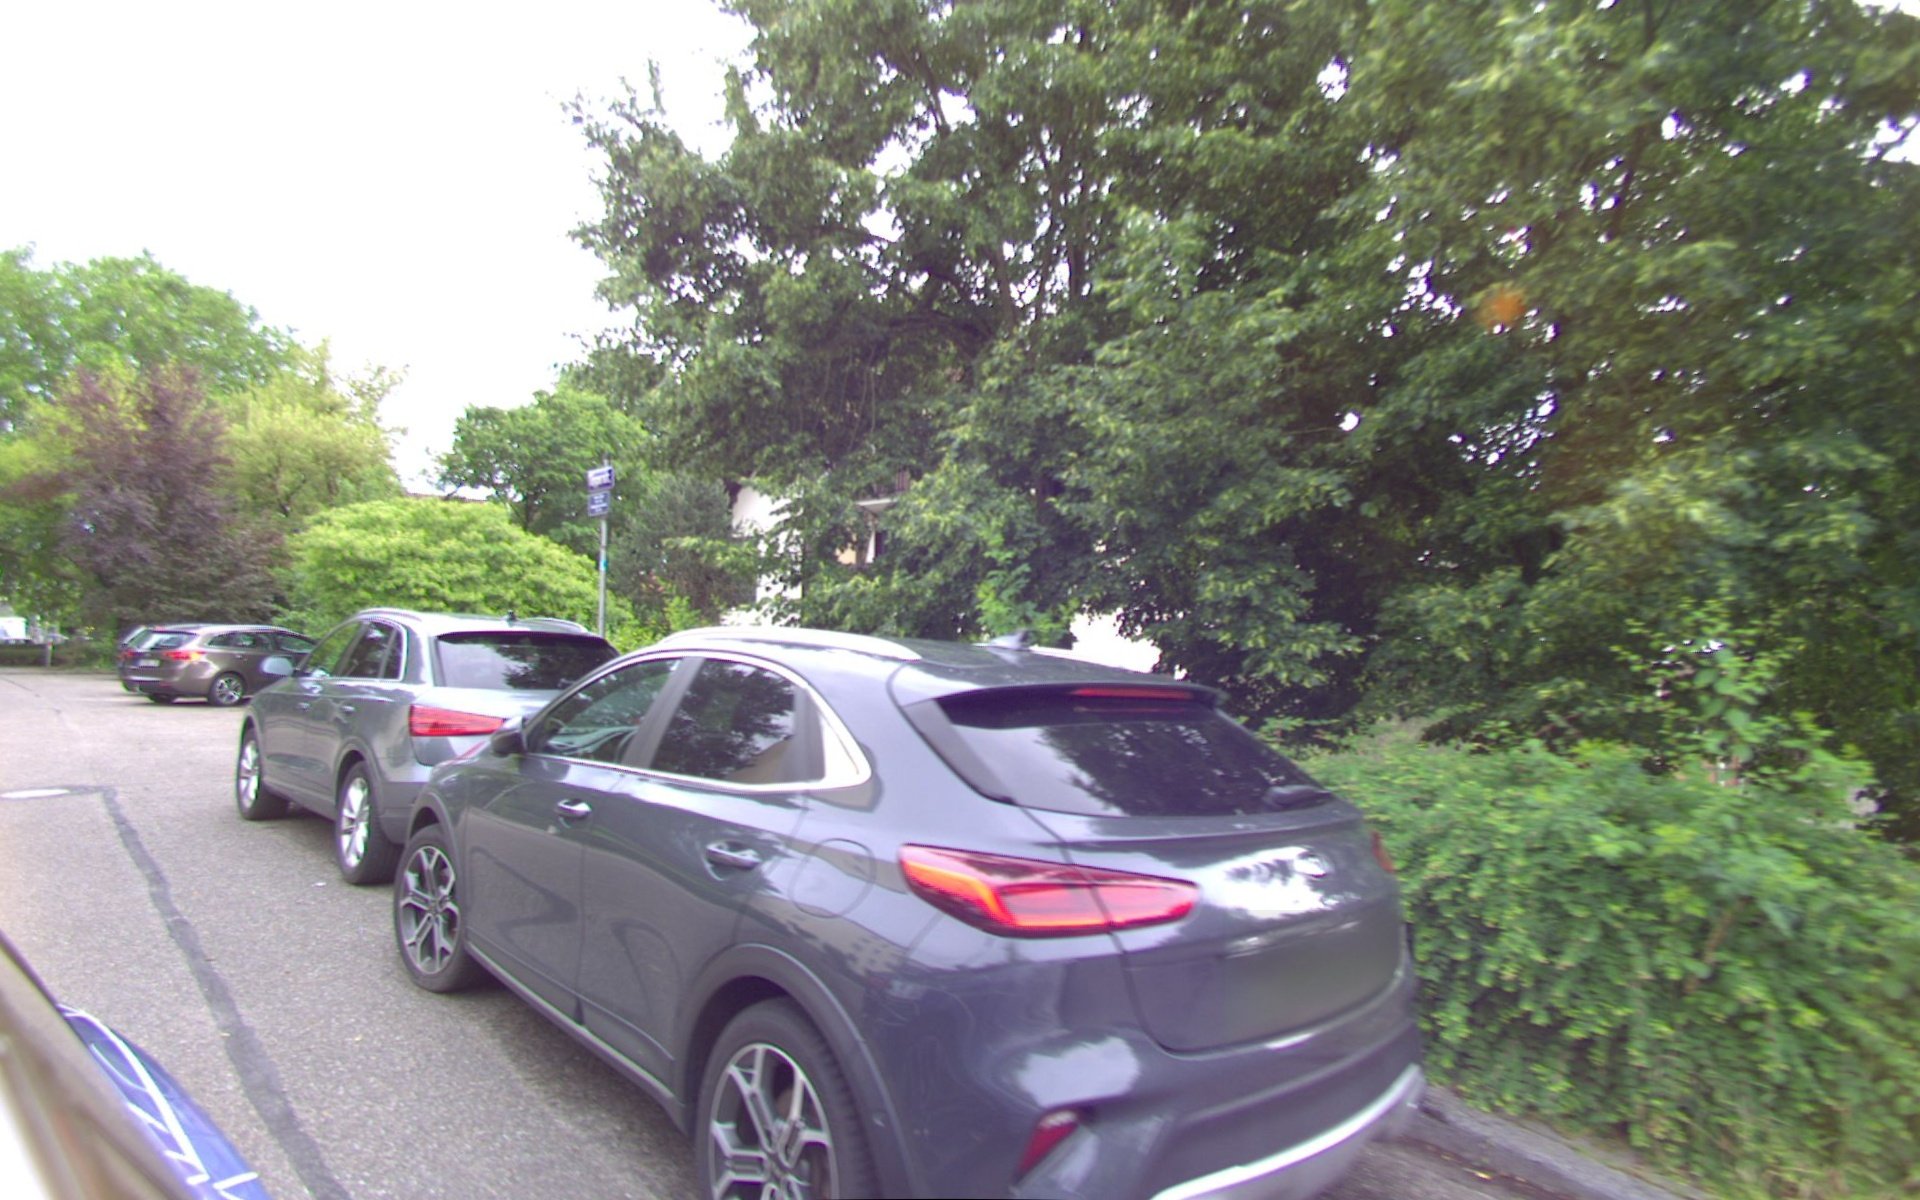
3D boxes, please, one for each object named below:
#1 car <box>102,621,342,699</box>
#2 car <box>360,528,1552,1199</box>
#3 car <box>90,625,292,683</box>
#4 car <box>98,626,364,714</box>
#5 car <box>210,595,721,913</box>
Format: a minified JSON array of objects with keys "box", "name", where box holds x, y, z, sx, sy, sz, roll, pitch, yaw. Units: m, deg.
[{"box":[-15.901,1.269,22.076,1.687,1.502,3.976,0,-2,18],"name":"car"},{"box":[-0.566,0.767,3.494,1.720,1.543,4.200,5,-5,-42],"name":"car"},{"box":[-20.119,1.393,26.695,1.687,1.385,3.976,0,-2,18],"name":"car"},{"box":[-14.043,1.315,19.796,1.687,1.502,3.976,0,-2,18],"name":"car"},{"box":[-3.637,0.832,7.041,4.251,1.543,1.722,-1,-5,43],"name":"car"}]
